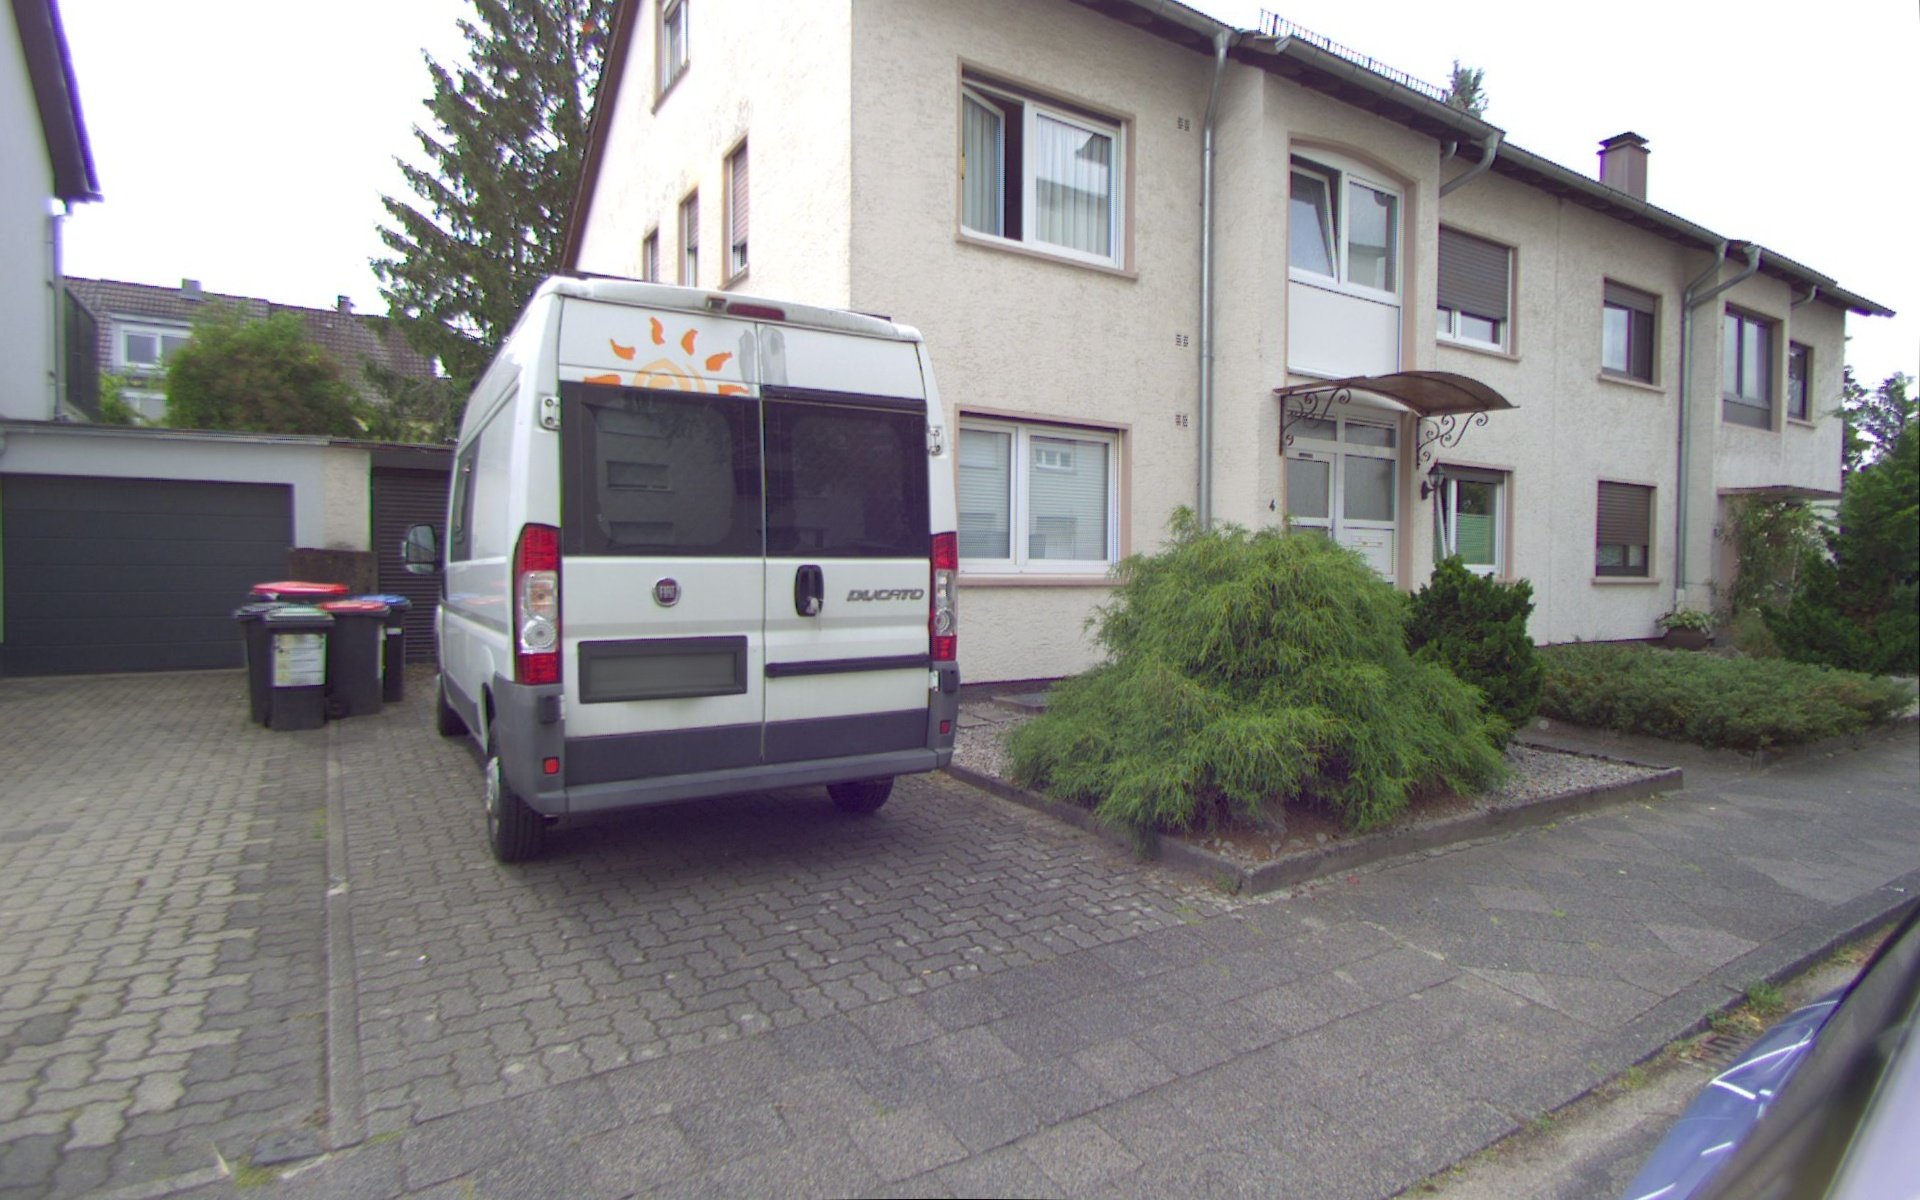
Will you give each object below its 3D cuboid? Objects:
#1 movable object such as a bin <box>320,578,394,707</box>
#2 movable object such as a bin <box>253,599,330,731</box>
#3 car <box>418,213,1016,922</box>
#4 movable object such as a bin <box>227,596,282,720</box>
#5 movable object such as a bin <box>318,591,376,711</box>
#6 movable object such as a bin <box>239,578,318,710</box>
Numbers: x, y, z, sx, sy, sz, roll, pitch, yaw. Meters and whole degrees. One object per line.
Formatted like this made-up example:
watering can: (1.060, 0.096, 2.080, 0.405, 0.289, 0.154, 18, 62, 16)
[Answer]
movable object such as a bin: (-5.296, 0.356, 8.887, 0.535, 1.069, 0.457, -1, 4, -33)
movable object such as a bin: (-5.130, 0.479, 7.781, 0.473, 0.937, 0.521, -1, 4, -33)
car: (-2.022, -0.254, 6.433, 2.194, 2.573, 5.110, -1, 3, -32)
movable object such as a bin: (-5.626, 0.453, 8.083, 0.332, 0.937, 0.356, -1, 4, -33)
movable object such as a bin: (-5.097, 0.406, 8.411, 0.394, 0.937, 0.451, -1, 4, -33)
movable object such as a bin: (-5.761, 0.353, 8.573, 0.535, 1.044, 0.457, -1, 4, -33)
